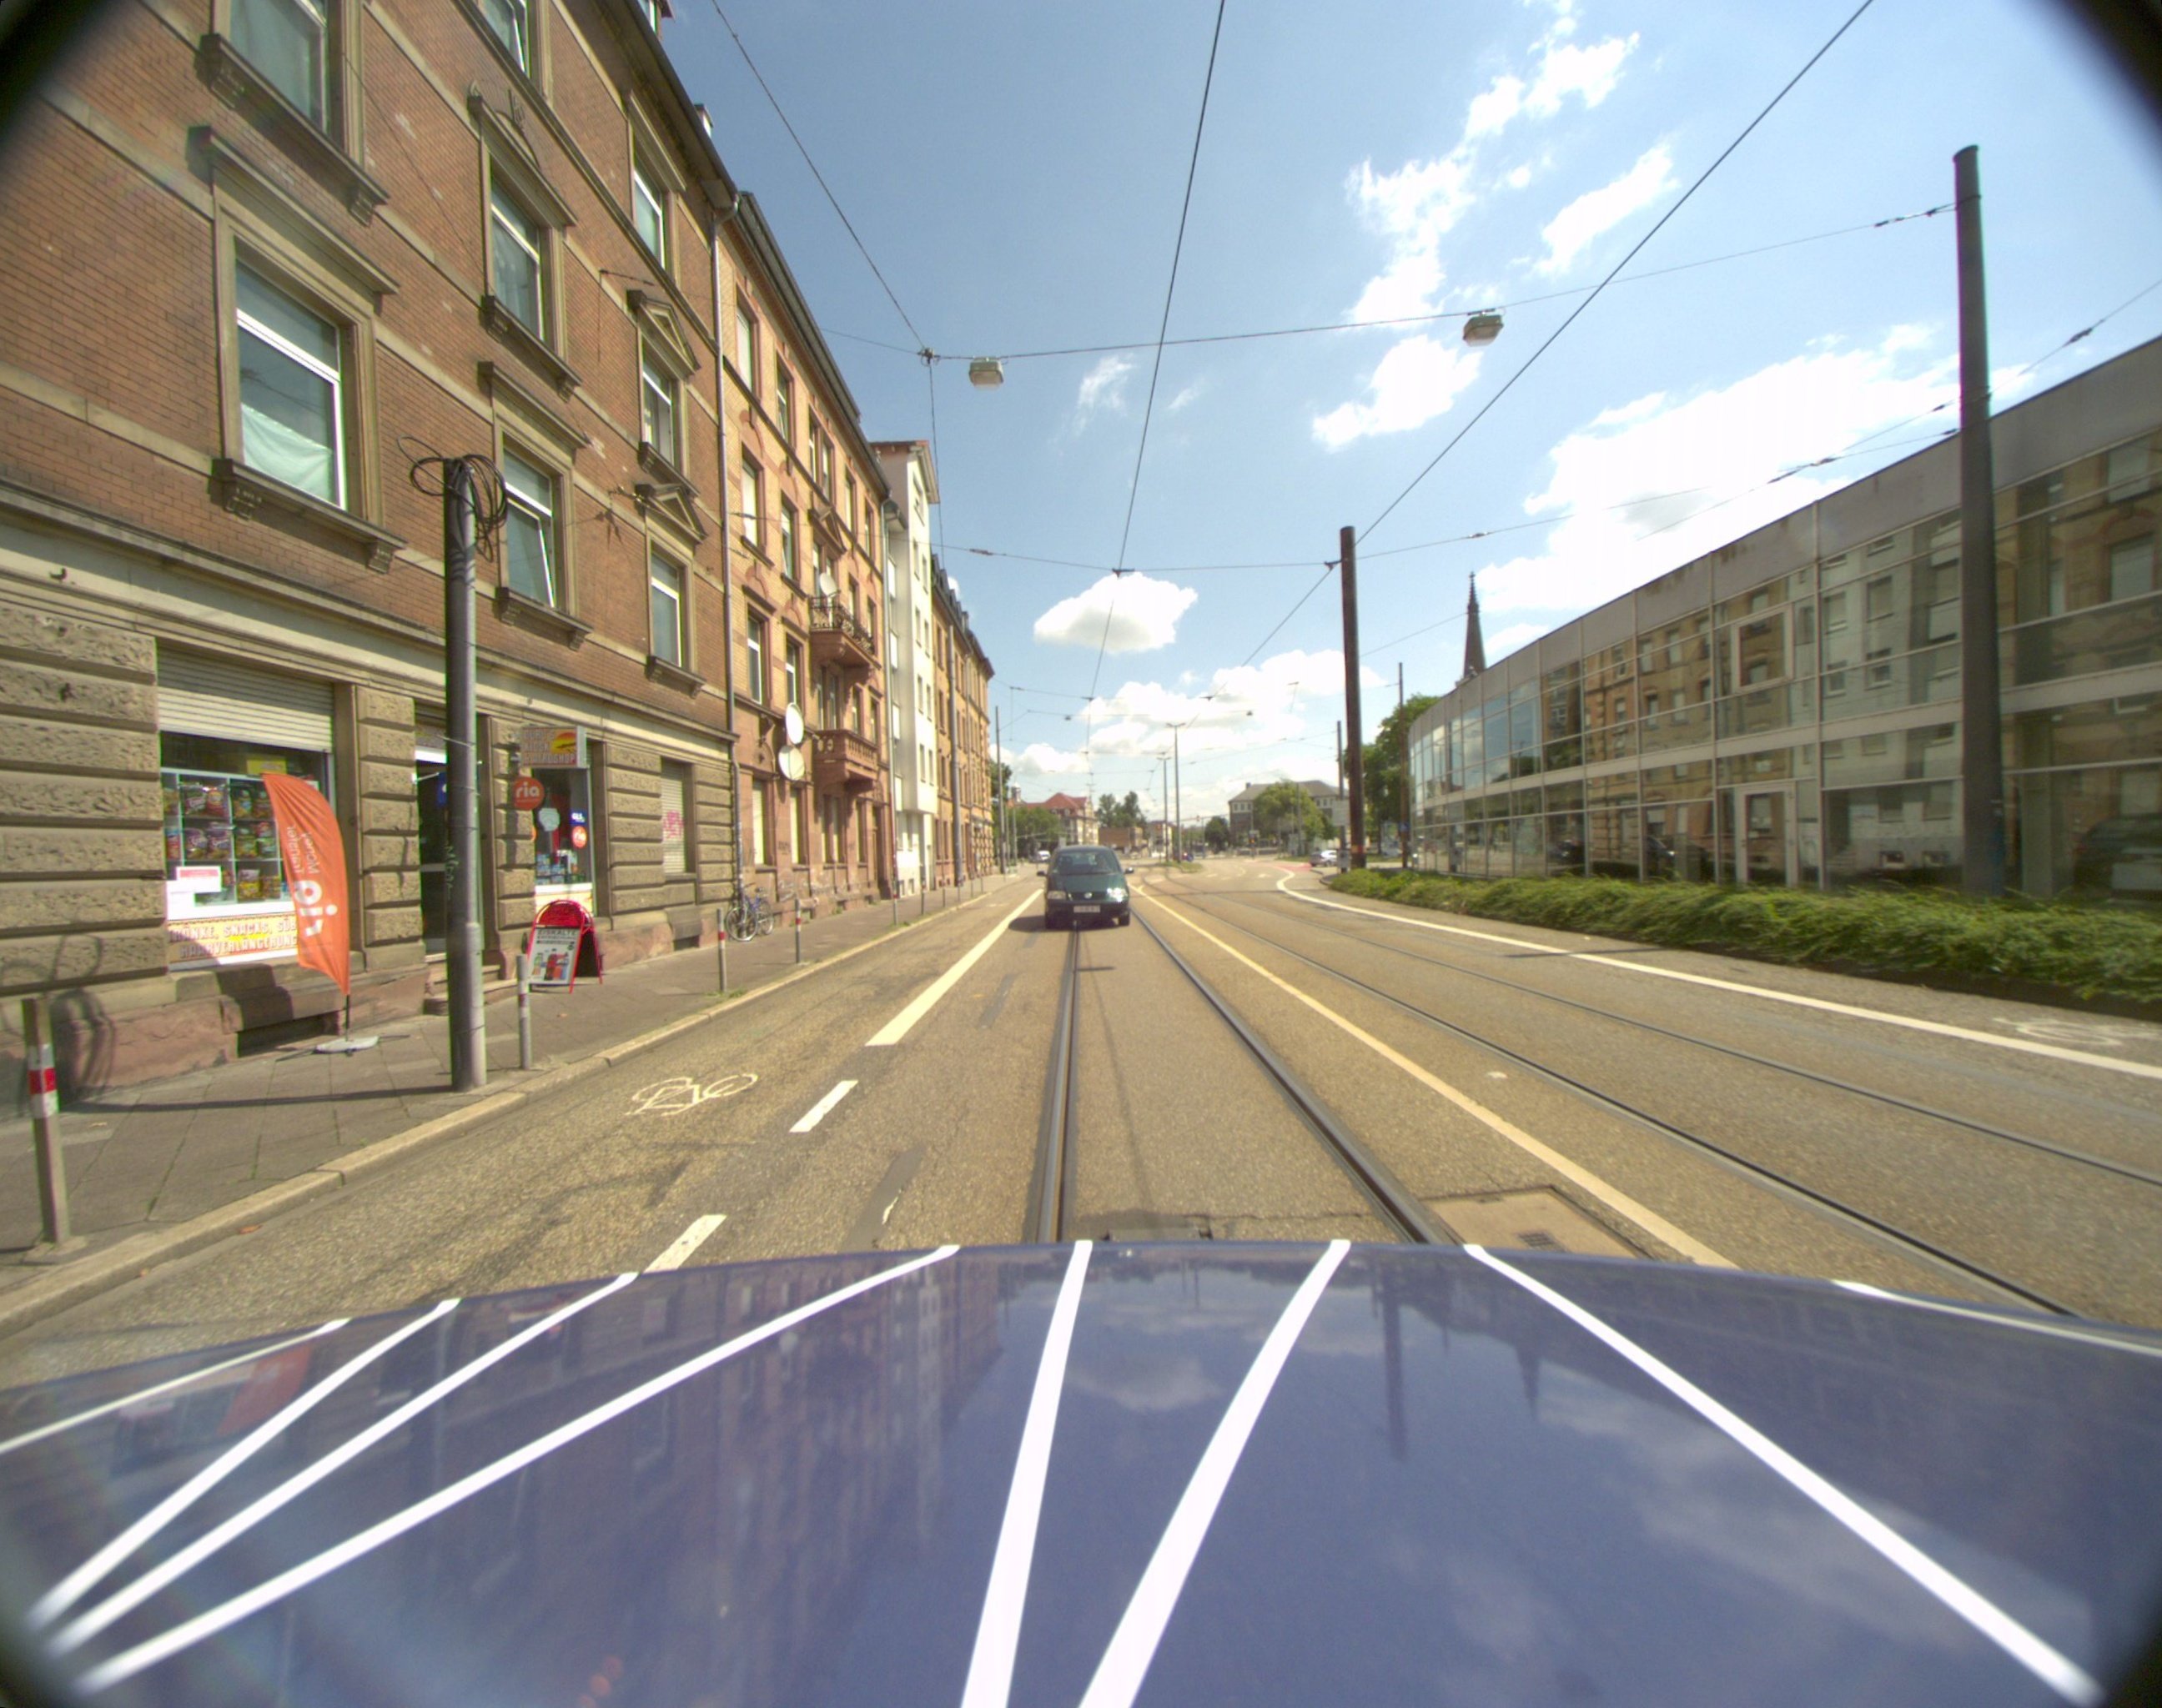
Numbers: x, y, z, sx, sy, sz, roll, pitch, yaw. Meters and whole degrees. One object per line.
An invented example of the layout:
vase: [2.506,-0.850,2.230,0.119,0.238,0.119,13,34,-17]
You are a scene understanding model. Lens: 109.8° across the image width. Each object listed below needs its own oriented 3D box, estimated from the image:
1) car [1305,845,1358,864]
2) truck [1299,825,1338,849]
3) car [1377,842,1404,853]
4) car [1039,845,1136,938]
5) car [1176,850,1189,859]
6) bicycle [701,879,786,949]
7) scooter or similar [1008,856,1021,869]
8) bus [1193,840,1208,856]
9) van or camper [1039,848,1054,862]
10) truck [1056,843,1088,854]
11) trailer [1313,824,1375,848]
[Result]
car: [21.715,0.051,65.843,4.193,1.412,1.816,-2,1,-26]
truck: [44.088,-3.230,140.967,6.888,4.095,2.957,-3,1,-30]
car: [53.331,-1.127,131.002,4.164,1.633,1.631,-2,0,18]
car: [0.138,0.719,16.827,1.819,1.707,4.084,-3,0,0]
car: [16.188,0.012,121.156,1.706,1.420,3.902,-1,0,1]
bicycle: [-6.494,1.119,14.758,0.588,1.171,2.205,-1,0,1]
scooter or similar: [-6.047,0.743,68.999,0.949,1.173,1.086,-1,1,7]
bus: [27.394,-1.378,173.527,2.947,3.427,7.954,-2,0,11]
van or camper: [-7.321,0.275,159.777,2.234,2.719,5.516,-2,0,-12]
truck: [-2.666,-1.726,224.629,8.744,2.981,3.349,-2,2,-25]
trailer: [50.023,-3.498,144.451,13.438,4.053,2.942,-3,1,-30]
